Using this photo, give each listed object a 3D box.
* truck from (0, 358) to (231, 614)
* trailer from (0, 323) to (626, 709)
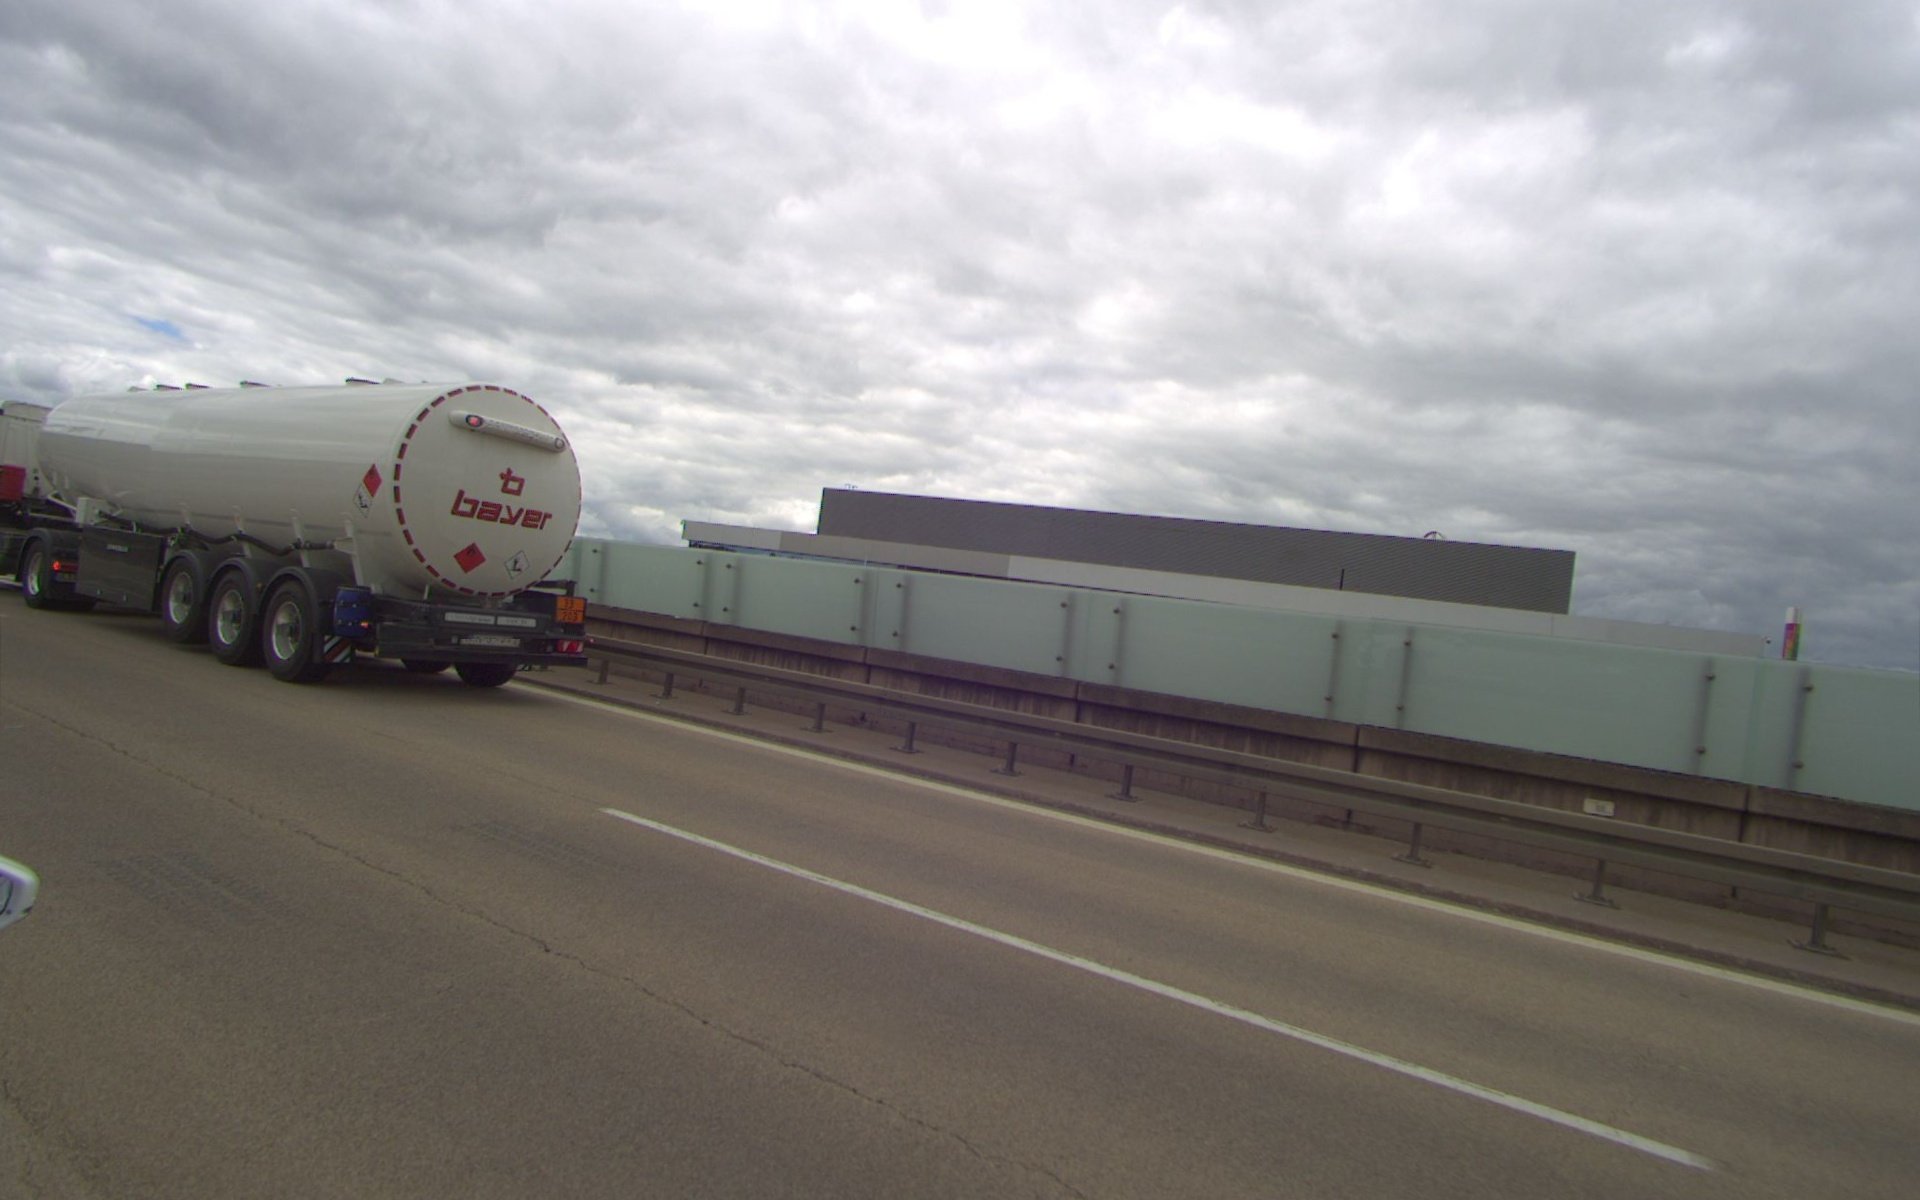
[{"bbox_3d":[-15.273,-1.893,17.187,4.823,3.555,2.635,7,-1,32],"label":"truck"},{"bbox_3d":[-9.394,-1.181,13.428,11.036,3.585,2.655,6,-1,32],"label":"trailer"}]
